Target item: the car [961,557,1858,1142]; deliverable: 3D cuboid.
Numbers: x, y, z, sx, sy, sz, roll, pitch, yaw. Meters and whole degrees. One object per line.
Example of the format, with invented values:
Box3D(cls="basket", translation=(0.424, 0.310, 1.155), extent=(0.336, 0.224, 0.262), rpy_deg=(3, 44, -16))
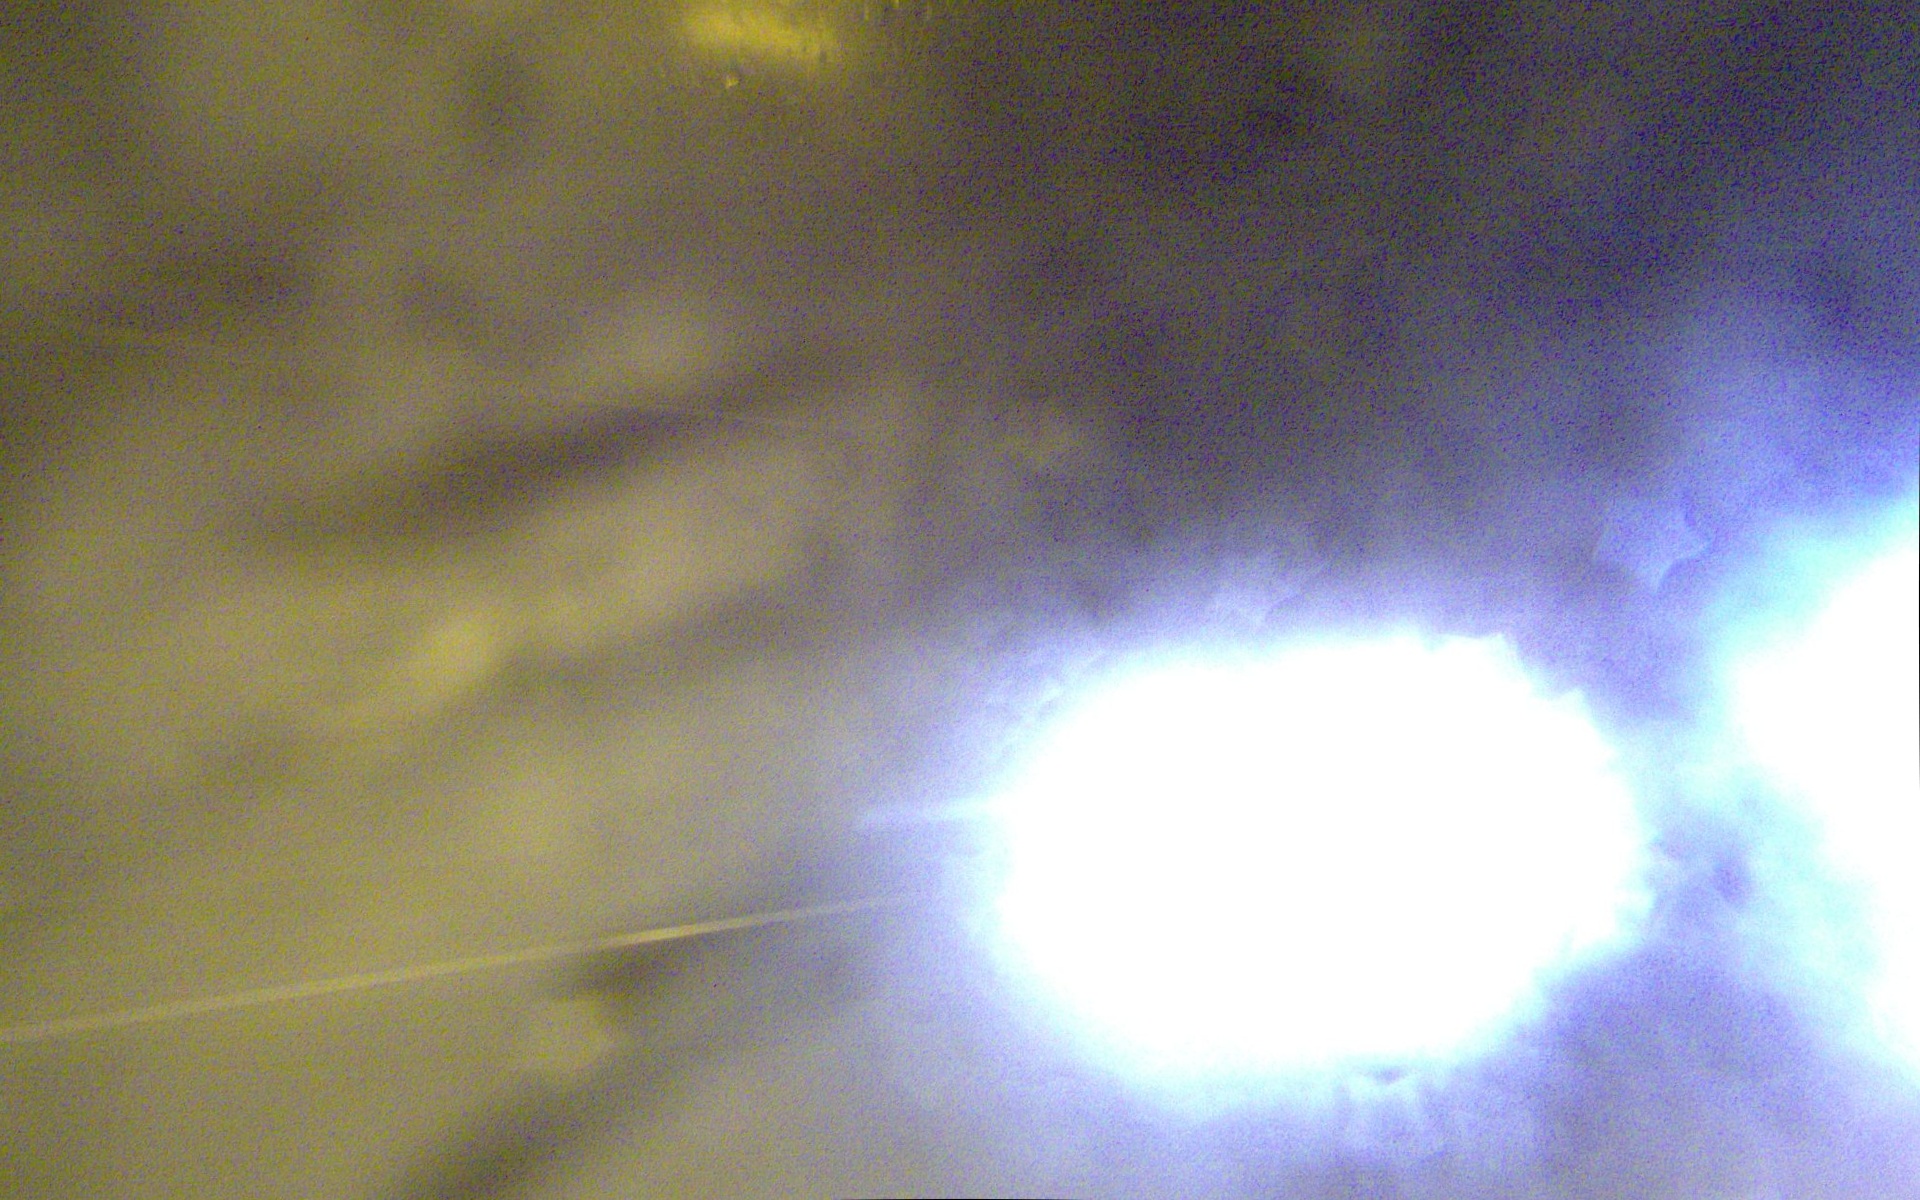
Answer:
Box3D(cls="car", translation=(2.081, 0.705, 4.414), extent=(3.827, 1.576, 1.692), rpy_deg=(1, 0, -30))
